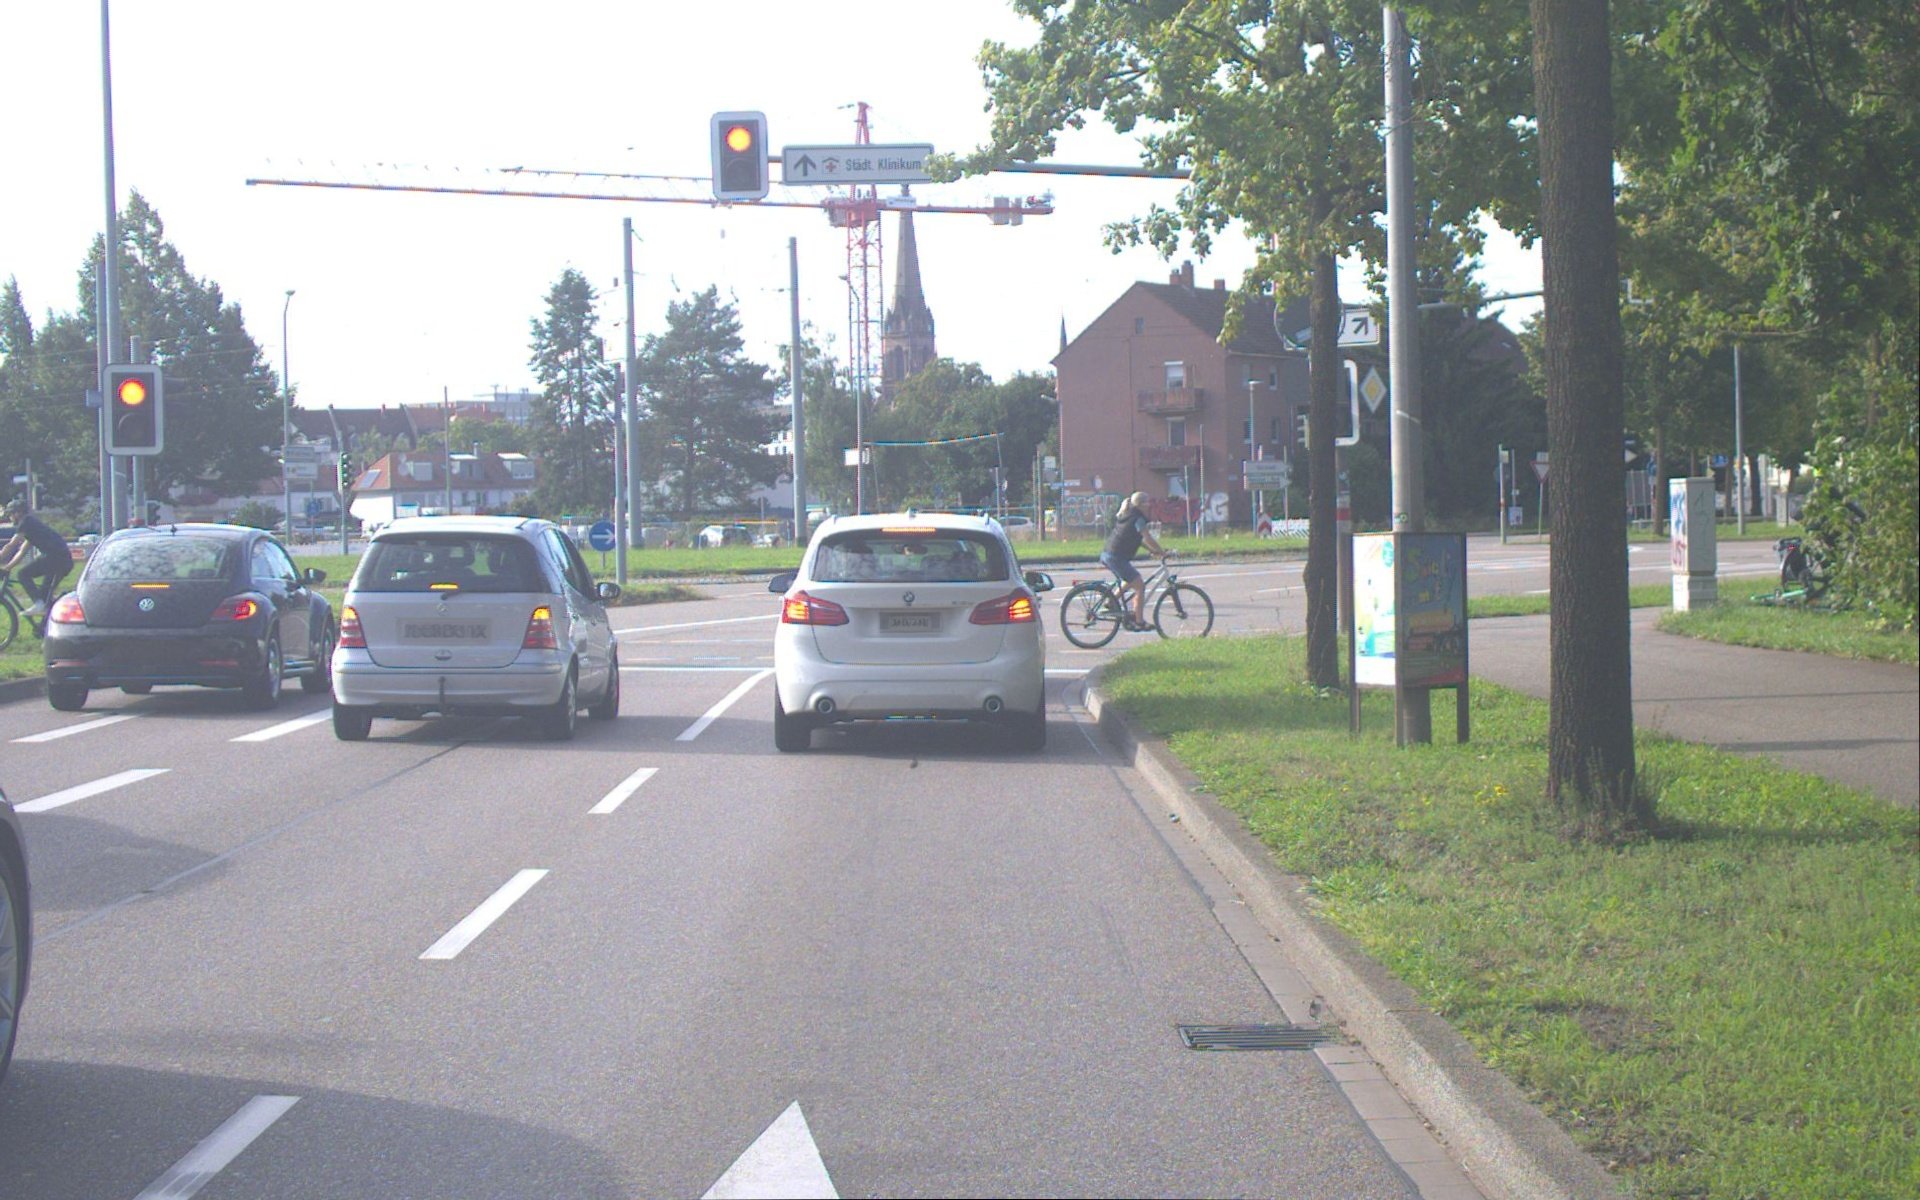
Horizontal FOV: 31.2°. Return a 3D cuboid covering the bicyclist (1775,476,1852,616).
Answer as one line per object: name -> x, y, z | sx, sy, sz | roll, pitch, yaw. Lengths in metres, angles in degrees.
bicyclist -> 10.241, -0.653, 41.273 | 0.768, 1.642, 0.535 | -1, 2, -1

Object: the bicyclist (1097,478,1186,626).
bicyclist -> 2.033, -0.537, 38.472 | 0.829, 1.642, 0.686 | -1, 1, -12

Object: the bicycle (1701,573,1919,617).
bicycle -> 9.216, -0.063, 37.207 | 1.407, 0.384, 2.577 | -2, 1, -12

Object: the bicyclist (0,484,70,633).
bicyclist -> -10.601, -0.474, 39.130 | 0.788, 1.662, 0.549 | -2, 1, -5

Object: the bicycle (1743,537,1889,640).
bicycle -> 10.274, -0.146, 41.284 | 1.619, 1.213, 0.491 | -1, 1, -1

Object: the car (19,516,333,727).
car -> -6.353, 0.118, 28.244 | 1.721, 1.559, 3.878 | 0, 2, 0

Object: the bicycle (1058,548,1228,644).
bicycle -> 2.045, -0.048, 38.477 | 1.770, 1.046, 0.711 | -1, 1, -12

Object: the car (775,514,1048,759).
car -> -0.338, 0.181, 23.846 | 1.729, 1.553, 4.058 | 0, 1, -1

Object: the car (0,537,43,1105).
car -> -3.413, 0.608, 7.058 | 1.890, 1.478, 4.613 | 0, 1, -1

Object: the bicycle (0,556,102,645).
bicycle -> -10.684, 0.011, 39.148 | 1.674, 0.963, 0.644 | -2, 1, -5

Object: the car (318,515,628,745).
car -> -3.492, 0.154, 25.295 | 1.729, 1.553, 4.058 | 0, 1, 0
